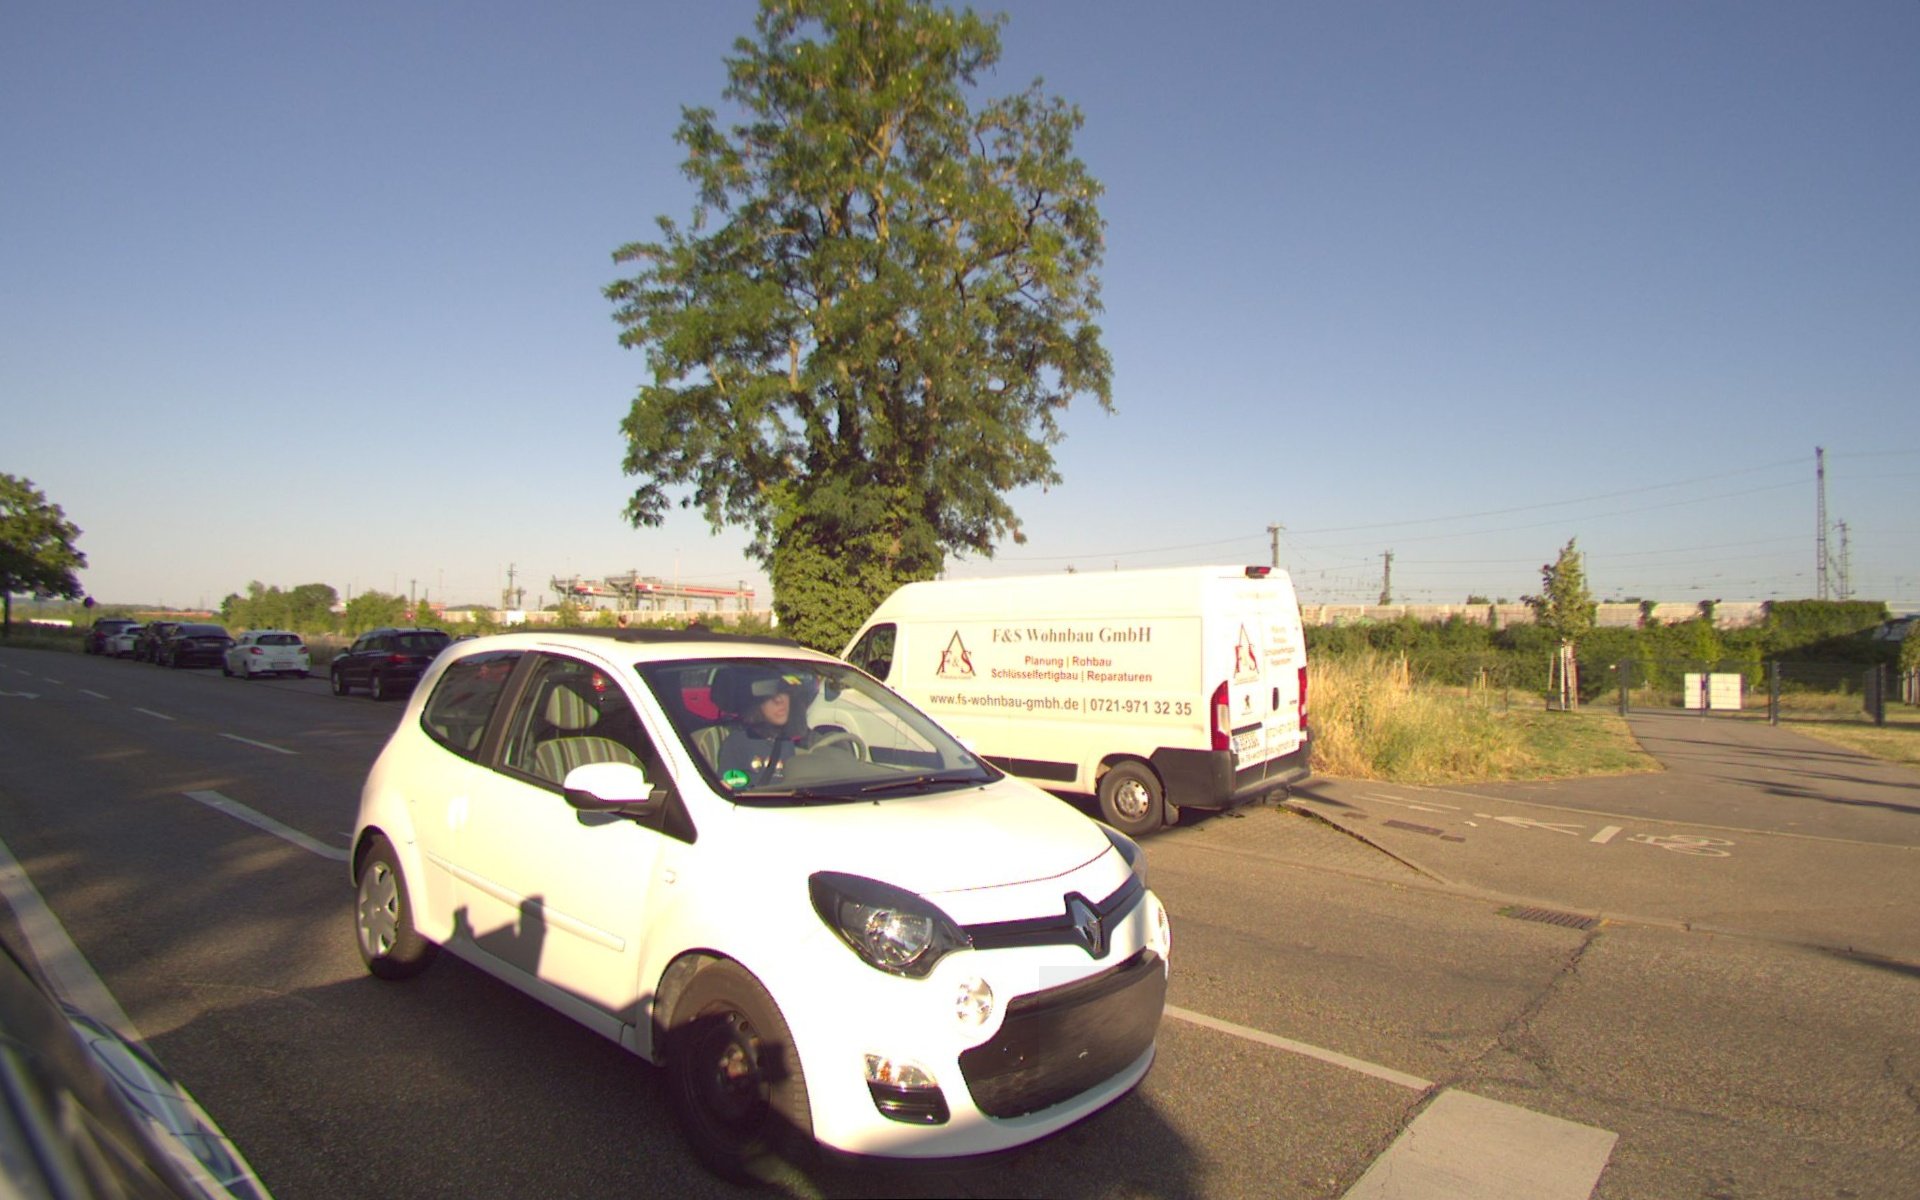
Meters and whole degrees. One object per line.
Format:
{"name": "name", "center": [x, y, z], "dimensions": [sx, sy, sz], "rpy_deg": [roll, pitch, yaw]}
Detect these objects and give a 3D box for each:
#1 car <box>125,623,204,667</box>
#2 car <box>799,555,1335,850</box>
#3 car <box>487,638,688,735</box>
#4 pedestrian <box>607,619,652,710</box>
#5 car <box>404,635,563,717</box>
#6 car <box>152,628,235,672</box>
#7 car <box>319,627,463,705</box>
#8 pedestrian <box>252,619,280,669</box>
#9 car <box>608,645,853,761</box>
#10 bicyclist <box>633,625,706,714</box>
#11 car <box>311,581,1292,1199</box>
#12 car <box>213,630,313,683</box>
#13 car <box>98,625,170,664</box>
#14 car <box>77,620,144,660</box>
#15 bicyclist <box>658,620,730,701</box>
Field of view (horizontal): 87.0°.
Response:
{"name": "car", "center": [-32.386, 1.817, 41.146], "dimensions": [4.219, 1.650, 1.799], "rpy_deg": [-1, -4, 43]}
{"name": "car", "center": [0.926, 0.896, 11.080], "dimensions": [5.556, 2.455, 2.207], "rpy_deg": [-1, -1, 40]}
{"name": "car", "center": [-6.801, 1.497, 18.315], "dimensions": [3.814, 1.541, 1.723], "rpy_deg": [-1, -4, 40]}
{"name": "pedestrian", "center": [-7.486, 1.450, 22.924], "dimensions": [0.729, 2.029, 0.608], "rpy_deg": [-1, -4, 39]}
{"name": "car", "center": [-10.017, 1.549, 21.194], "dimensions": [3.577, 1.541, 1.642], "rpy_deg": [-1, -4, 40]}
{"name": "car", "center": [-28.236, 1.819, 37.225], "dimensions": [1.798, 1.538, 4.292], "rpy_deg": [5, -4, -45]}
{"name": "car", "center": [-13.599, 1.529, 24.112], "dimensions": [4.003, 1.672, 1.642], "rpy_deg": [-1, -4, 40]}
{"name": "pedestrian", "center": [-28.513, 1.816, 41.573], "dimensions": [0.710, 2.029, 0.697], "rpy_deg": [-1, -4, 42]}
{"name": "car", "center": [-3.551, 1.476, 15.393], "dimensions": [3.692, 1.498, 1.723], "rpy_deg": [-1, -4, 40]}
{"name": "bicyclist", "center": [-5.488, 1.296, 19.104], "dimensions": [1.145, 1.609, 0.758], "rpy_deg": [-1, -4, 40]}
{"name": "car", "center": [-0.872, 0.775, 3.939], "dimensions": [3.772, 1.480, 1.683], "rpy_deg": [-1, -4, 40]}
{"name": "car", "center": [-21.561, 1.735, 31.289], "dimensions": [3.582, 1.538, 1.684], "rpy_deg": [-1, -4, 42]}
{"name": "car", "center": [-36.472, 1.957, 44.657], "dimensions": [4.219, 1.586, 1.799], "rpy_deg": [-1, -4, 43]}
{"name": "car", "center": [-40.843, 1.900, 48.604], "dimensions": [4.219, 1.789, 1.866], "rpy_deg": [-1, -4, 43]}
{"name": "bicyclist", "center": [-5.458, 1.234, 20.766], "dimensions": [1.145, 1.609, 0.855], "rpy_deg": [-1, -4, 39]}
